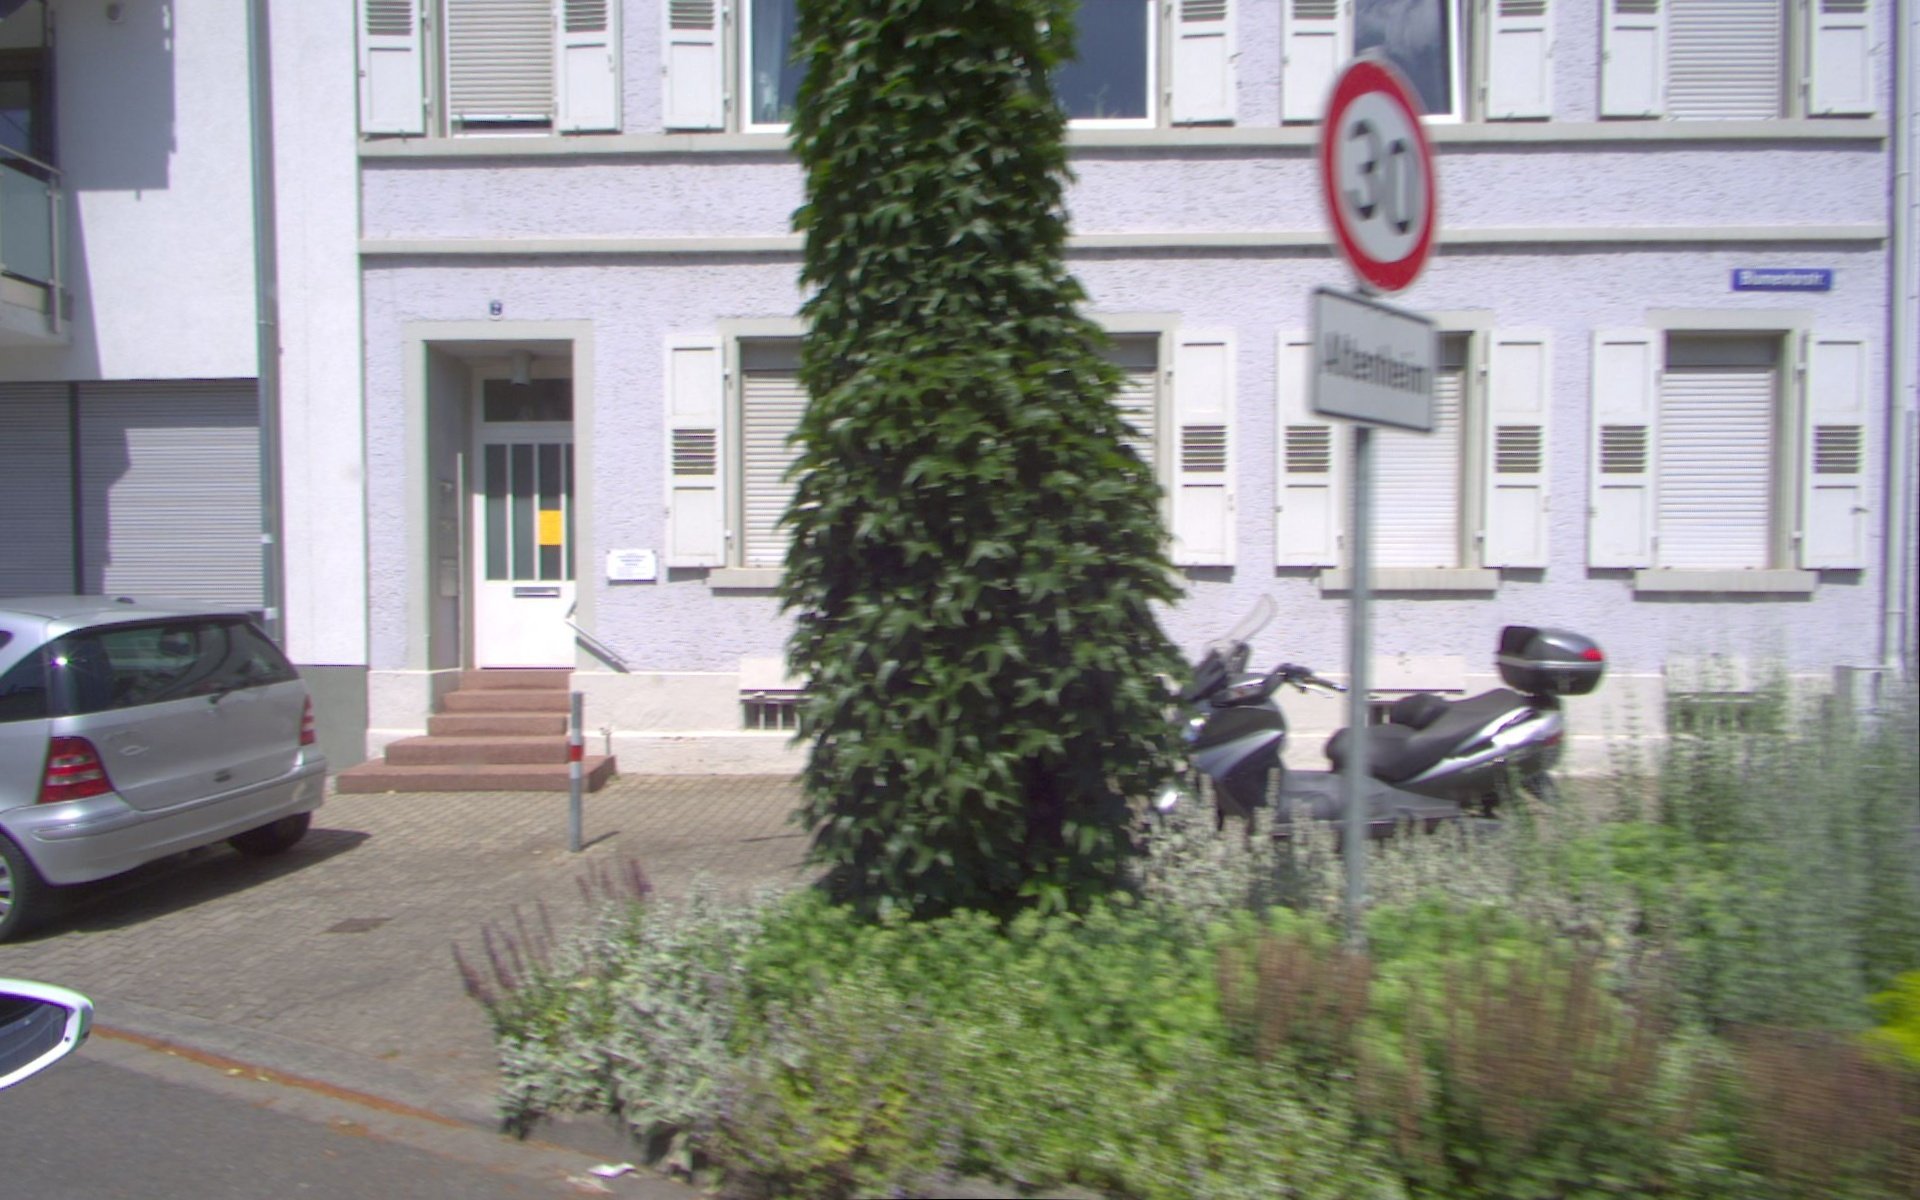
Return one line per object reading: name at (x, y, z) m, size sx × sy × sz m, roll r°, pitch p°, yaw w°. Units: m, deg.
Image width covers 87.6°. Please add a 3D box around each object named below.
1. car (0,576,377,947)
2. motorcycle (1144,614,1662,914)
car at (-5.605, 0.730, 5.623) m, size 3.728 × 1.633 × 1.730 m, roll -1°, pitch 3°, yaw 10°
motorcycle at (2.140, 0.767, 5.158) m, size 2.293 × 1.370 × 0.802 m, roll 0°, pitch 1°, yaw 7°
